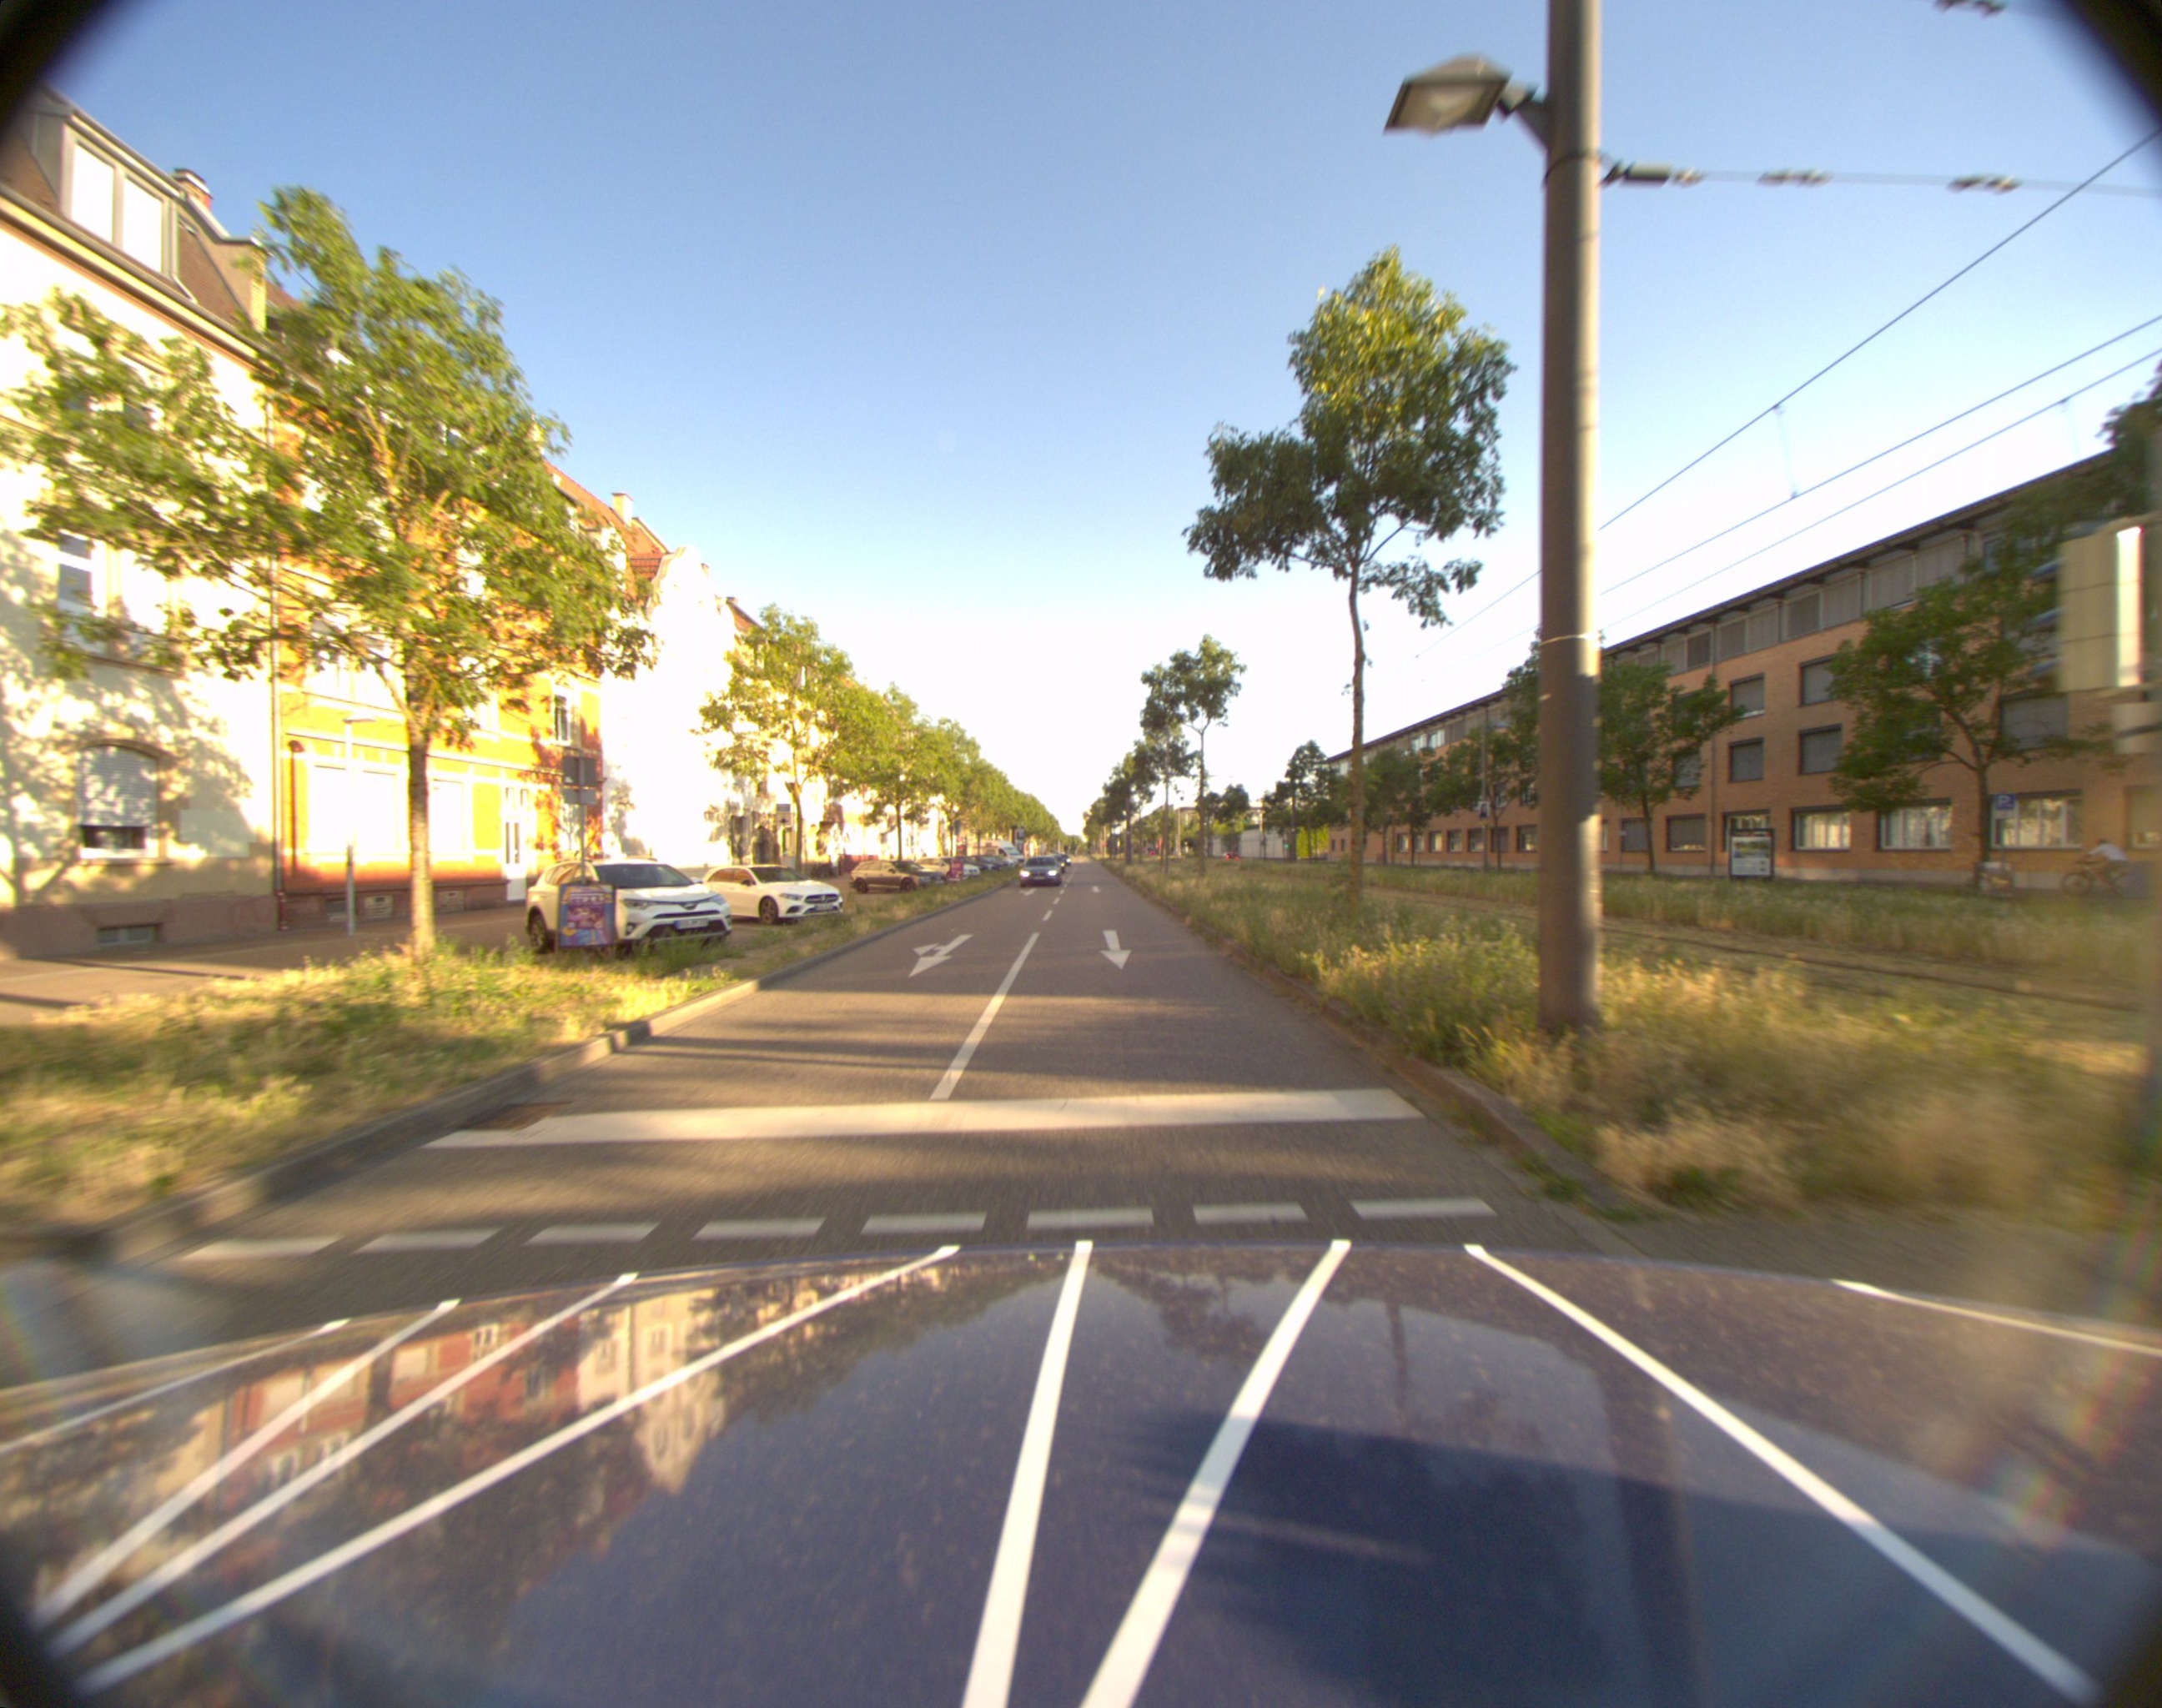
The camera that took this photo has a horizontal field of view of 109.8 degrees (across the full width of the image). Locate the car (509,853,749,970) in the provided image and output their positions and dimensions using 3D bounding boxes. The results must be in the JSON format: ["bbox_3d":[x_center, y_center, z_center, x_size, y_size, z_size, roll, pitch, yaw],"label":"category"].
[{"bbox_3d":[-7.907,0.865,13.164,4.420,1.681,1.920,-1,1,36],"label":"car"}]

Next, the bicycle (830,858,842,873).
[{"bbox_3d":[-16.420,0.784,50.933,0.419,0.956,1.218,-1,1,0],"label":"bicycle"}]

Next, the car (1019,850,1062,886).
[{"bbox_3d":[-1.946,0.645,37.364,1.999,1.655,3.999,-1,1,-2],"label":"car"}]

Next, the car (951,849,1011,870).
[{"bbox_3d":[-7.321,0.406,55.312,4.042,1.429,1.730,-1,1,29],"label":"car"}]

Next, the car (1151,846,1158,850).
[{"bbox_3d":[22.316,-1.819,231.422,1.794,1.368,3.999,-1,1,0],"label":"car"}]

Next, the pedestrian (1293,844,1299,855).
[{"bbox_3d":[27.466,-0.576,97.150,0.587,1.359,0.575,-1,1,-6],"label":"pedestrian"}]

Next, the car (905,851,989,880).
[{"bbox_3d":[-7.421,0.599,41.893,4.633,1.501,1.851,0,1,36],"label":"car"}]

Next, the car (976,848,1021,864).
[{"bbox_3d":[-7.435,0.151,68.157,3.912,1.395,1.799,0,1,39],"label":"car"}]

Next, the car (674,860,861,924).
[{"bbox_3d":[-7.958,0.887,19.188,4.542,1.392,2.034,-1,1,31],"label":"car"}]

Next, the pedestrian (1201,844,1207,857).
[{"bbox_3d":[15.941,-0.402,98.292,0.515,1.675,0.548,-2,1,-30],"label":"pedestrian"}]

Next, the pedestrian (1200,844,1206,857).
[{"bbox_3d":[15.897,-0.485,99.257,0.515,1.675,0.548,-2,0,-30],"label":"pedestrian"}]

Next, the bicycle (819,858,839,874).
[{"bbox_3d":[-16.260,0.779,49.086,0.580,0.985,1.928,-1,1,0],"label":"bicycle"}]

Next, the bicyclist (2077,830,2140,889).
[{"bbox_3d":[29.674,0.150,21.953,0.697,1.664,0.825,-1,1,1],"label":"bicyclist"}]

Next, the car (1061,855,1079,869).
[{"bbox_3d":[-1.264,0.898,90.404,1.870,1.587,3.952,-1,1,2],"label":"car"}]

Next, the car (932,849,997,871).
[{"bbox_3d":[-8.108,0.434,52.637,4.424,1.408,1.889,-2,0,37],"label":"car"}]

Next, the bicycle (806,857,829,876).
[{"bbox_3d":[-16.268,0.754,46.955,0.589,1.072,2.227,1,1,0],"label":"bicycle"}]

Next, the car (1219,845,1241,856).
[{"bbox_3d":[18.241,-0.460,93.154,1.794,1.368,3.999,-1,1,0],"label":"car"}]

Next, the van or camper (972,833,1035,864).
[{"bbox_3d":[-7.292,-0.490,71.395,5.635,2.796,2.208,0,1,32],"label":"van or camper"}]

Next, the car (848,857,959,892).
[{"bbox_3d":[-7.496,0.841,31.940,4.570,1.340,1.900,0,1,33],"label":"car"}]

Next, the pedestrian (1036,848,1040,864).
[{"bbox_3d":[-5.593,0.225,98.522,0.514,2.002,0.599,-1,1,0],"label":"pedestrian"}]

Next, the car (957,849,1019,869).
[{"bbox_3d":[-7.146,0.408,58.325,4.424,1.415,1.926,-2,0,33],"label":"car"}]

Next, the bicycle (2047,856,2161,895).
[{"bbox_3d":[29.691,0.596,22.022,0.711,1.046,2.093,-1,1,1],"label":"bicycle"}]
